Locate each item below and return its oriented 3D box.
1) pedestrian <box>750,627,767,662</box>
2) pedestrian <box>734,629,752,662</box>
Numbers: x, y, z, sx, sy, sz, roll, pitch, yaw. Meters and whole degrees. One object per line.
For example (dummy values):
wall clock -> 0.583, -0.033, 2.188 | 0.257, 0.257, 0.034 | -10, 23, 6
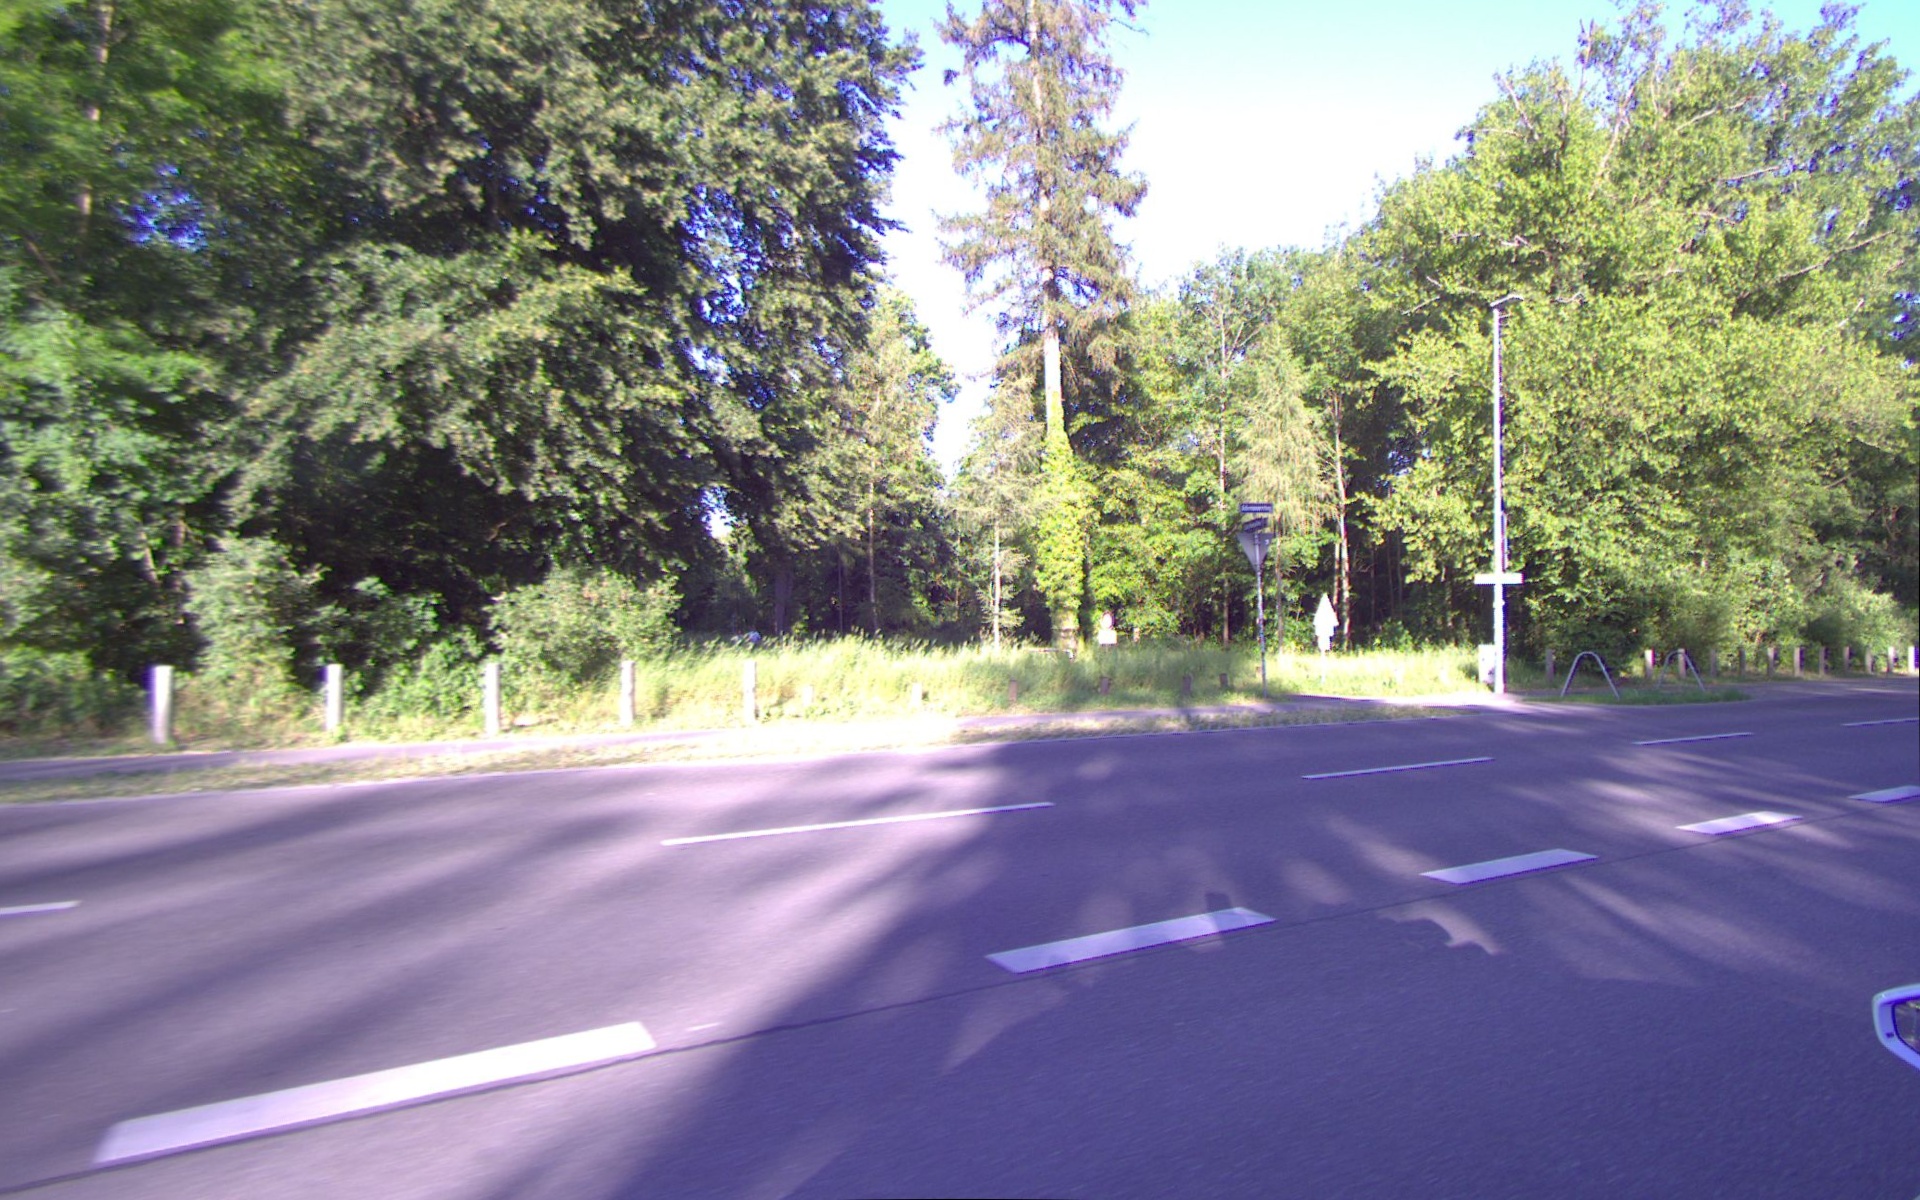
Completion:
pedestrian -> -10.003, 2.212, 49.840 | 0.707, 1.704, 0.541 | 1, -1, -29
pedestrian -> -10.690, 2.241, 49.464 | 0.707, 1.632, 0.541 | 1, -1, -29
